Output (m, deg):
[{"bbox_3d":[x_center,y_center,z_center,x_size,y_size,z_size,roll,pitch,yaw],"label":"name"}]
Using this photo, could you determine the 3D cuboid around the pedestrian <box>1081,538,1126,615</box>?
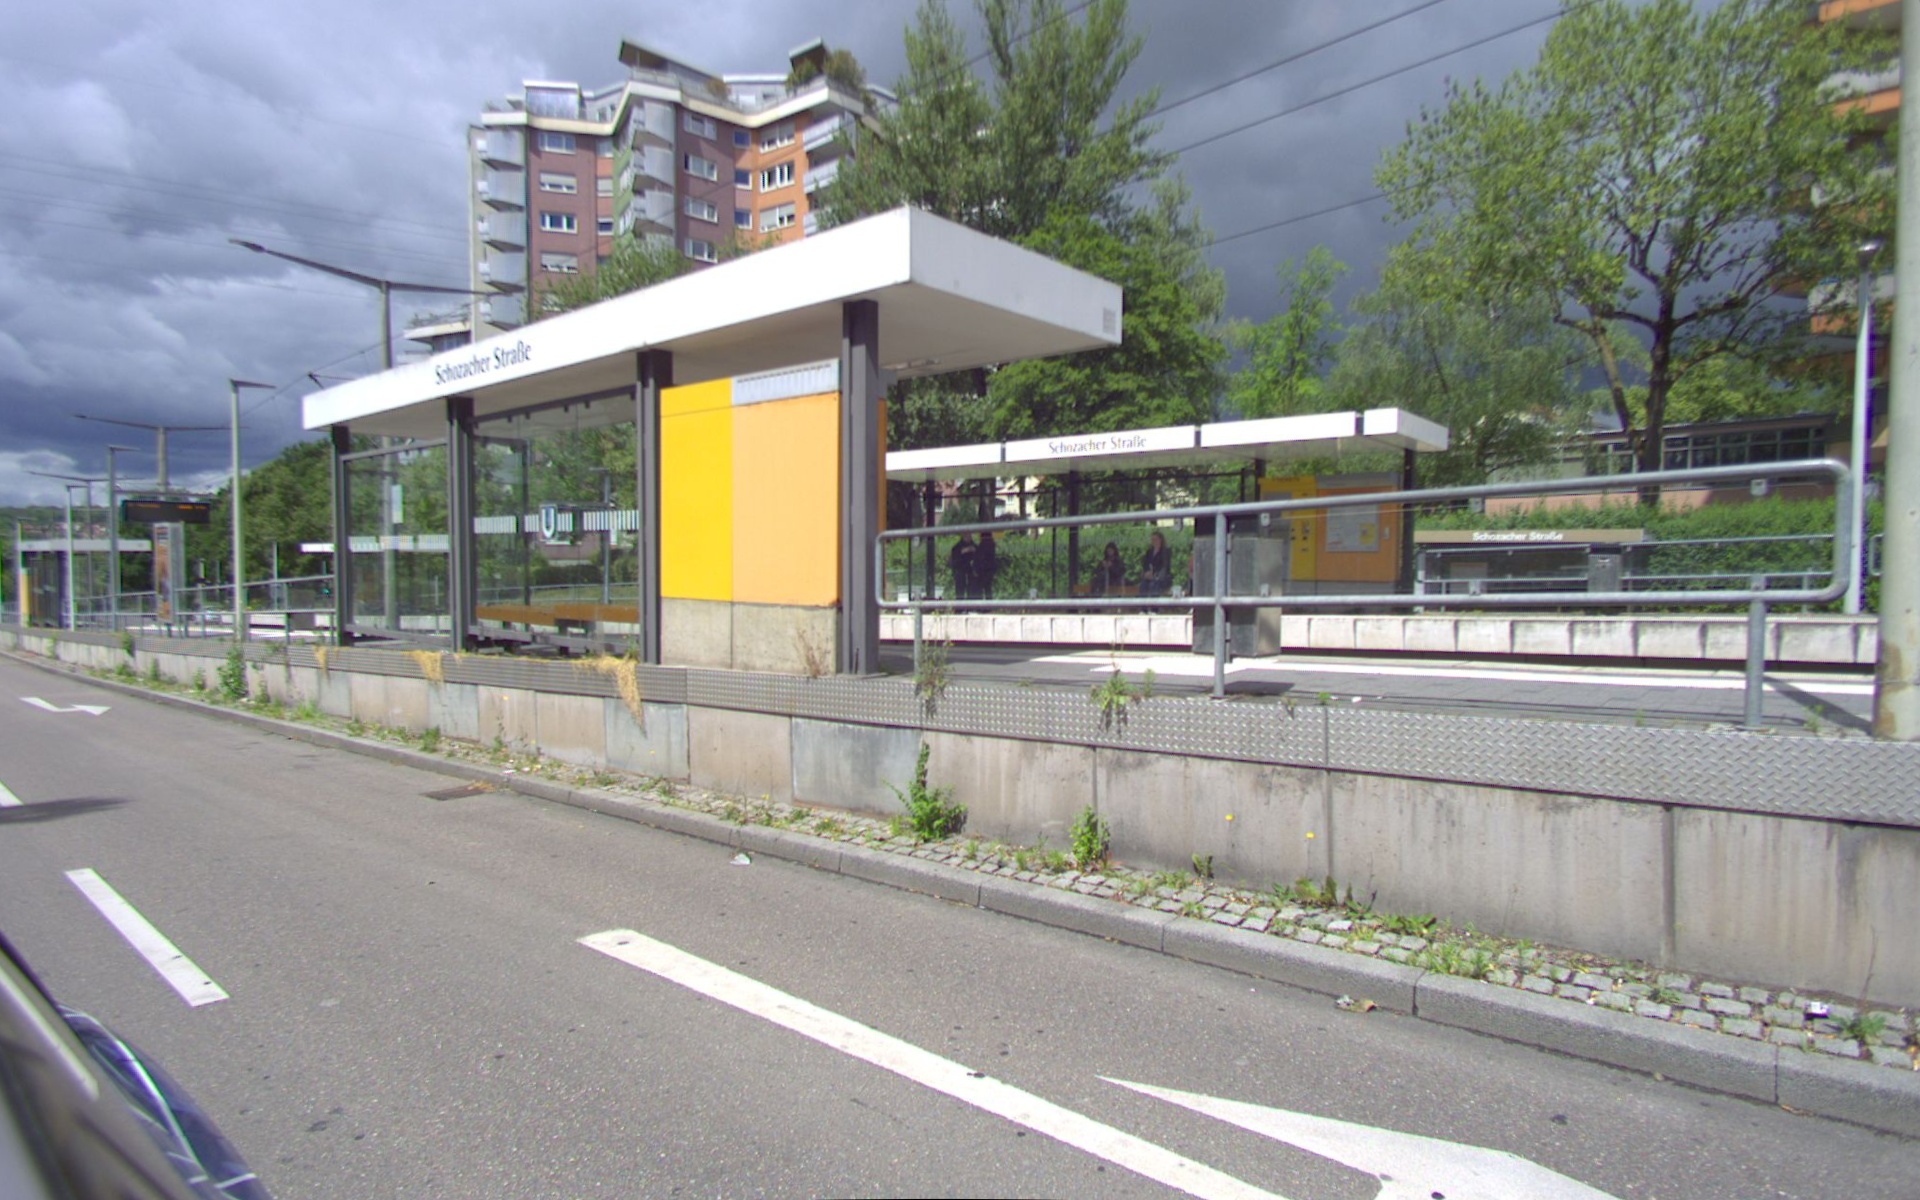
[{"bbox_3d":[2.487,-0.395,17.487,0.463,1.287,0.704,-1,0,40],"label":"pedestrian"}]

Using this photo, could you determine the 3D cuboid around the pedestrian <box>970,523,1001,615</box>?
[{"bbox_3d":[0.486,-0.578,19.280,0.544,1.726,0.386,-1,0,-2],"label":"pedestrian"}]

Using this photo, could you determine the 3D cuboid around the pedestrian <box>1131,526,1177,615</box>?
[{"bbox_3d":[3.203,-0.474,16.687,0.463,1.428,0.704,-1,0,40],"label":"pedestrian"}]

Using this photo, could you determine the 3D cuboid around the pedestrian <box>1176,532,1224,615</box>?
[{"bbox_3d":[3.827,-0.412,16.134,0.463,1.287,0.704,-1,0,40],"label":"pedestrian"}]

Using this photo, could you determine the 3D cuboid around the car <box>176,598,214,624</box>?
[{"bbox_3d":[-60.463,0.851,79.996,4.000,2.029,1.714,-1,0,43],"label":"car"}]

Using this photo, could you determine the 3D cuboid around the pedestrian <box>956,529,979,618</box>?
[{"bbox_3d":[0.146,-0.513,19.818,0.421,1.726,0.353,-1,0,-1],"label":"pedestrian"}]
